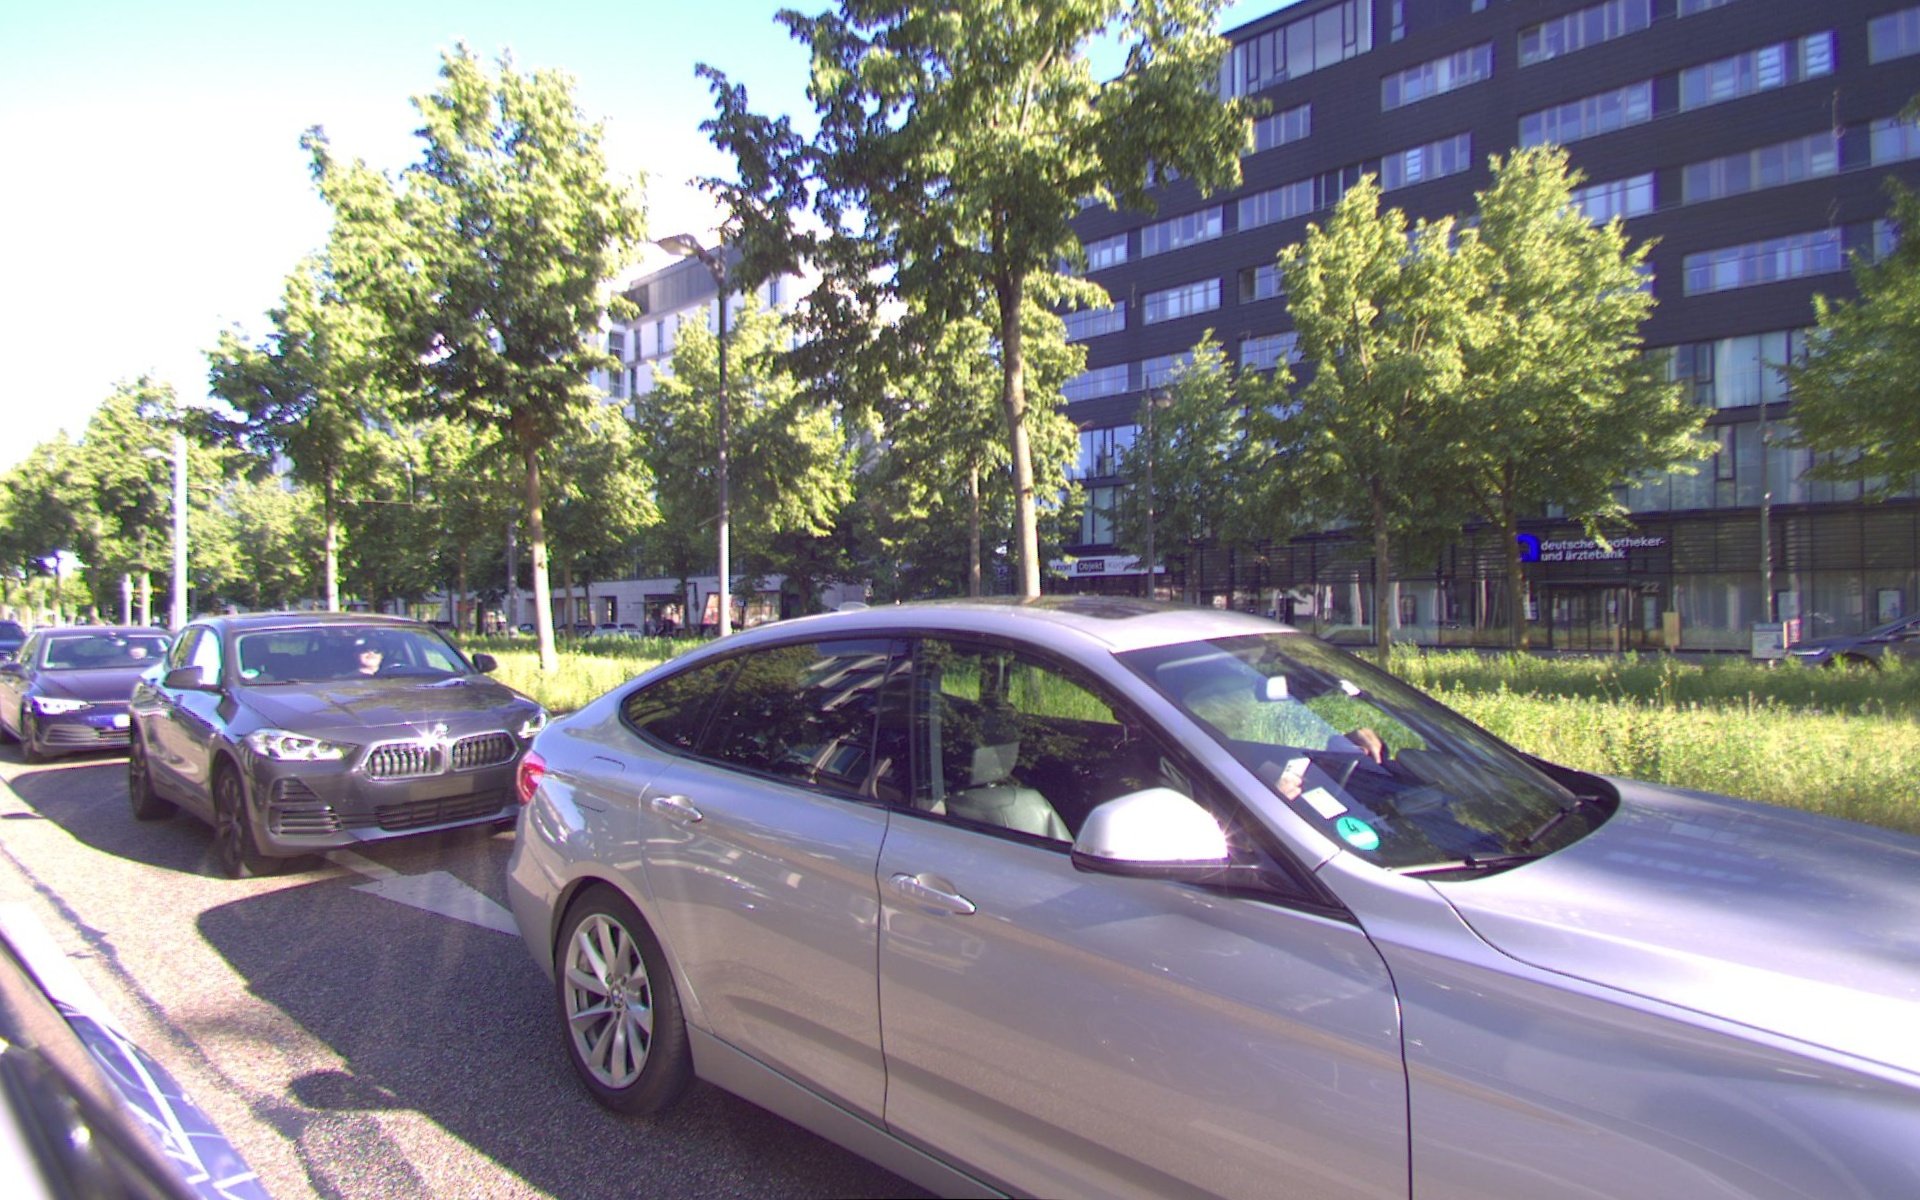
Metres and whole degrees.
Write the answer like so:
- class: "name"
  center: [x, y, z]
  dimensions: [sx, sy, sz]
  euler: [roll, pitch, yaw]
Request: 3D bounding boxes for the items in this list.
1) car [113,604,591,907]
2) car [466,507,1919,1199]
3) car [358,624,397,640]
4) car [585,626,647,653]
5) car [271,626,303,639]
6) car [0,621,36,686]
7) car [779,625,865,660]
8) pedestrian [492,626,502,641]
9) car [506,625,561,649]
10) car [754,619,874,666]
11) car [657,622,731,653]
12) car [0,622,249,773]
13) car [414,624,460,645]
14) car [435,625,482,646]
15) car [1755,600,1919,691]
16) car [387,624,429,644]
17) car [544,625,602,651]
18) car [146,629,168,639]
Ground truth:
- class: "car"
  center: [-4.414, 0.815, 7.079]
  dimensions: [4.000, 1.502, 1.836]
  euler: [-1, -1, 43]
- class: "car"
  center: [0.658, 0.677, 2.590]
  dimensions: [4.558, 1.495, 1.800]
  euler: [-1, -1, 40]
- class: "car"
  center: [-51.273, 2.827, 89.058]
  dimensions: [4.001, 1.406, 1.971]
  euler: [-2, -2, 44]
- class: "car"
  center: [-21.465, 2.452, 63.055]
  dimensions: [4.182, 1.609, 1.859]
  euler: [-2, -1, 41]
- class: "car"
  center: [-72.521, 3.486, 109.064]
  dimensions: [3.998, 1.406, 1.972]
  euler: [-2, -2, 41]
- class: "car"
  center: [-25.402, 1.349, 26.187]
  dimensions: [4.344, 1.598, 1.854]
  euler: [-1, -1, 43]
- class: "car"
  center: [-6.757, 2.067, 49.387]
  dimensions: [4.182, 1.609, 1.926]
  euler: [-2, -1, 41]
- class: "pedestrian"
  center: [-41.109, 2.986, 89.812]
  dimensions: [0.660, 1.349, 0.597]
  euler: [-2, -1, 41]
- class: "car"
  center: [-29.718, 2.580, 70.467]
  dimensions: [4.182, 1.609, 1.859]
  euler: [-2, -1, 41]
- class: "car"
  center: [-5.412, 1.527, 37.070]
  dimensions: [4.567, 1.494, 1.780]
  euler: [-1, 2, 42]
- class: "car"
  center: [-14.670, 2.027, 55.695]
  dimensions: [4.182, 1.609, 1.926]
  euler: [-2, -1, 41]
- class: "car"
  center: [-10.052, 0.998, 11.937]
  dimensions: [4.344, 1.434, 1.854]
  euler: [-1, -1, 43]
- class: "car"
  center: [-42.121, 2.771, 81.481]
  dimensions: [4.182, 1.609, 1.859]
  euler: [-2, -1, 41]
- class: "car"
  center: [-38.659, 2.725, 77.974]
  dimensions: [4.182, 1.609, 1.859]
  euler: [-2, -1, 41]
- class: "car"
  center: [16.230, 0.732, 16.854]
  dimensions: [4.558, 1.458, 1.783]
  euler: [-1, -1, 36]
- class: "car"
  center: [-46.576, 2.841, 85.377]
  dimensions: [4.182, 1.609, 1.859]
  euler: [-2, -1, 41]
- class: "car"
  center: [-25.690, 2.515, 67.055]
  dimensions: [4.182, 1.609, 1.859]
  euler: [-2, -1, 41]
- class: "car"
  center: [-114.614, 4.799, 144.498]
  dimensions: [4.001, 1.406, 1.971]
  euler: [-2, -2, 44]
